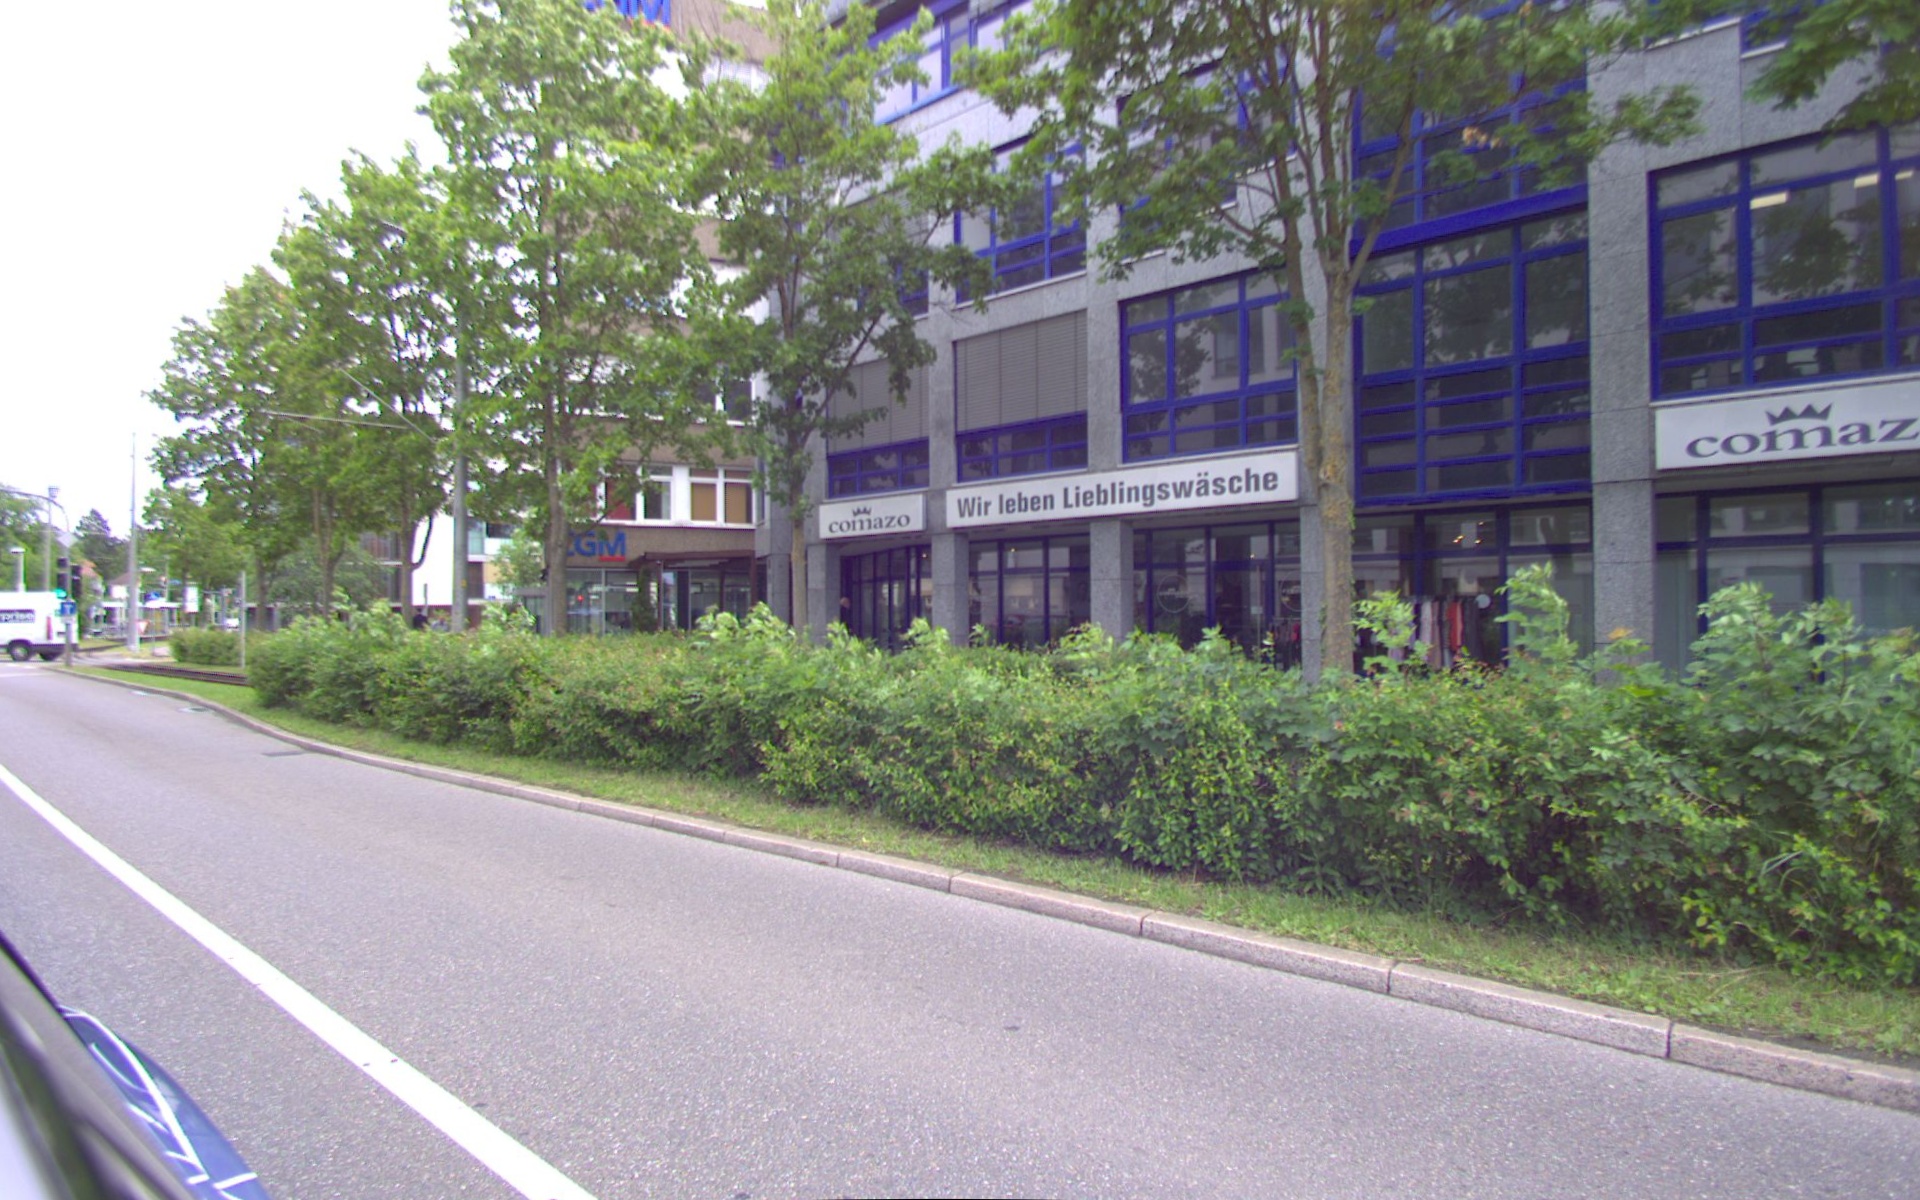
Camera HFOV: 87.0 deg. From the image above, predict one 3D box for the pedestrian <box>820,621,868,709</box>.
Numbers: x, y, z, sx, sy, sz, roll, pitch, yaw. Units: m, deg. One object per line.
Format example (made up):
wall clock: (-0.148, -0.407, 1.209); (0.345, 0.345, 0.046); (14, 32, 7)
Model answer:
pedestrian: (-2.610, 1.442, 22.820); (0.731, 1.908, 0.766); (-1, 0, 40)

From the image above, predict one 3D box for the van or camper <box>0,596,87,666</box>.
van or camper: (-39.338, 1.242, 40.730); (6.048, 2.754, 2.120); (0, 0, -14)

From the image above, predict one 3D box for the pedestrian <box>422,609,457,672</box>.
pedestrian: (-15.372, 1.182, 29.898); (0.730, 1.819, 0.672); (-1, 0, 37)

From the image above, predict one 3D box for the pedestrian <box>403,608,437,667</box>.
pedestrian: (-18.171, 1.246, 34.033); (0.731, 1.938, 0.805); (-1, 0, 40)
